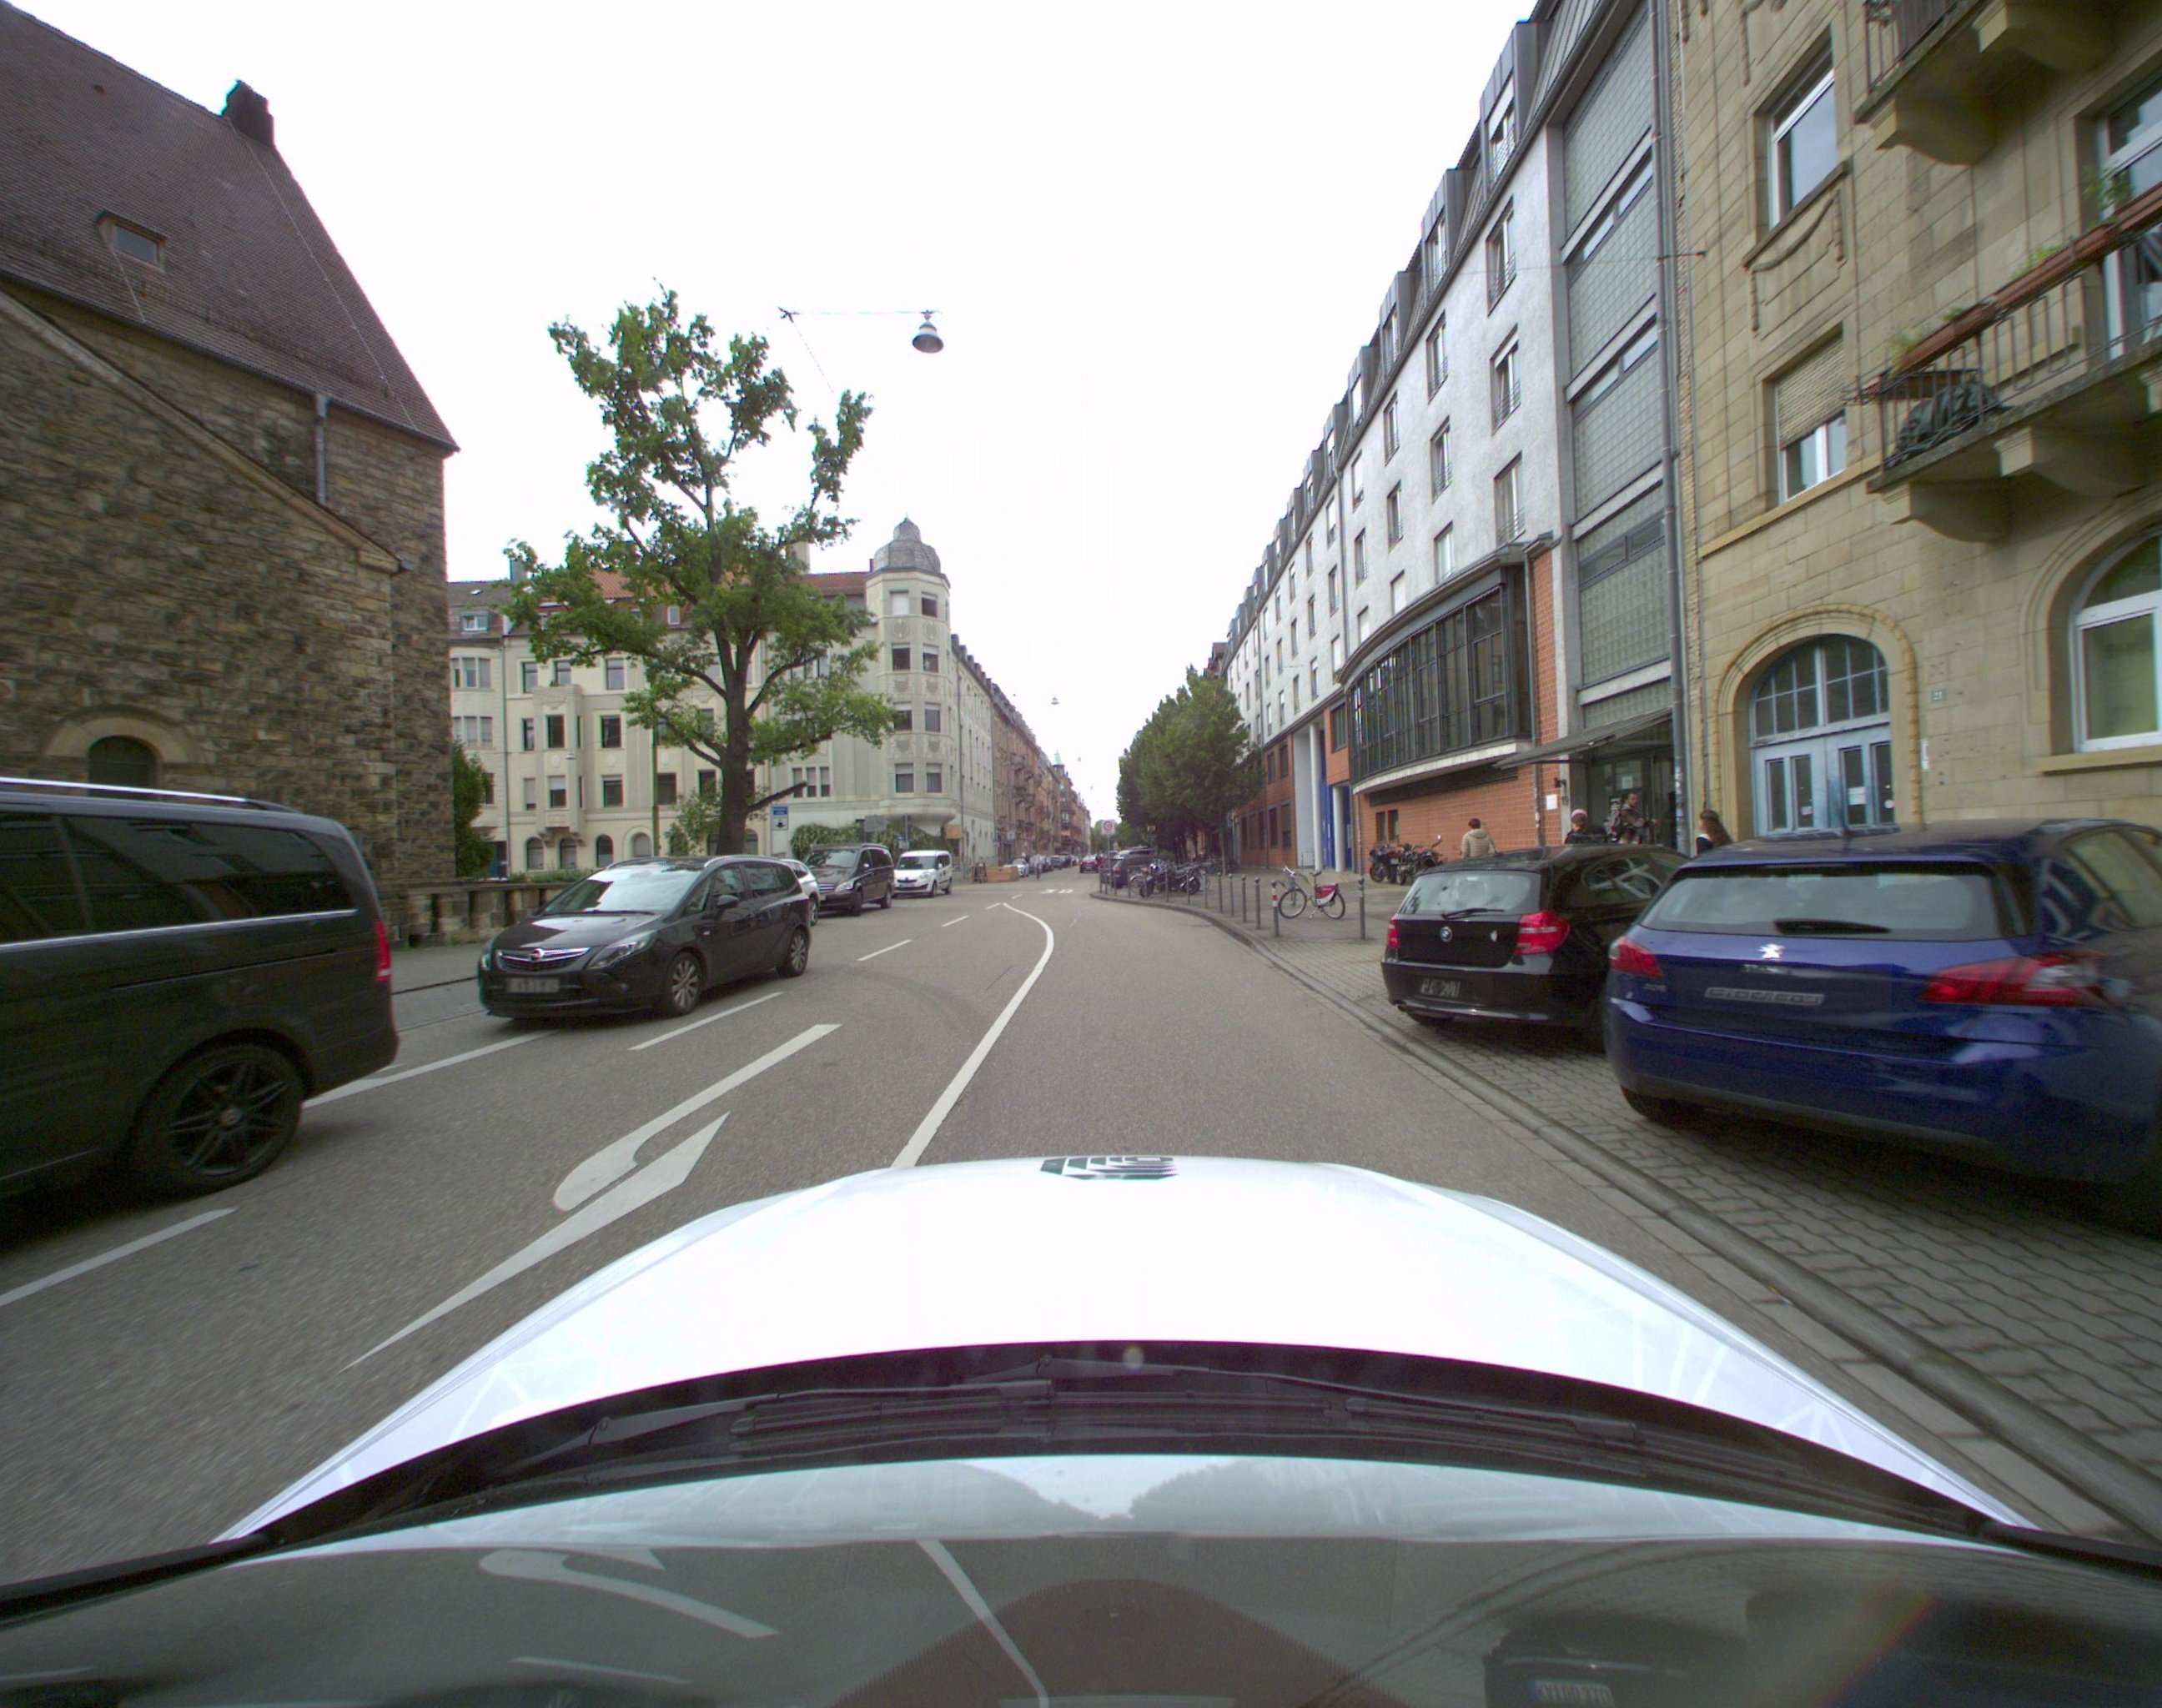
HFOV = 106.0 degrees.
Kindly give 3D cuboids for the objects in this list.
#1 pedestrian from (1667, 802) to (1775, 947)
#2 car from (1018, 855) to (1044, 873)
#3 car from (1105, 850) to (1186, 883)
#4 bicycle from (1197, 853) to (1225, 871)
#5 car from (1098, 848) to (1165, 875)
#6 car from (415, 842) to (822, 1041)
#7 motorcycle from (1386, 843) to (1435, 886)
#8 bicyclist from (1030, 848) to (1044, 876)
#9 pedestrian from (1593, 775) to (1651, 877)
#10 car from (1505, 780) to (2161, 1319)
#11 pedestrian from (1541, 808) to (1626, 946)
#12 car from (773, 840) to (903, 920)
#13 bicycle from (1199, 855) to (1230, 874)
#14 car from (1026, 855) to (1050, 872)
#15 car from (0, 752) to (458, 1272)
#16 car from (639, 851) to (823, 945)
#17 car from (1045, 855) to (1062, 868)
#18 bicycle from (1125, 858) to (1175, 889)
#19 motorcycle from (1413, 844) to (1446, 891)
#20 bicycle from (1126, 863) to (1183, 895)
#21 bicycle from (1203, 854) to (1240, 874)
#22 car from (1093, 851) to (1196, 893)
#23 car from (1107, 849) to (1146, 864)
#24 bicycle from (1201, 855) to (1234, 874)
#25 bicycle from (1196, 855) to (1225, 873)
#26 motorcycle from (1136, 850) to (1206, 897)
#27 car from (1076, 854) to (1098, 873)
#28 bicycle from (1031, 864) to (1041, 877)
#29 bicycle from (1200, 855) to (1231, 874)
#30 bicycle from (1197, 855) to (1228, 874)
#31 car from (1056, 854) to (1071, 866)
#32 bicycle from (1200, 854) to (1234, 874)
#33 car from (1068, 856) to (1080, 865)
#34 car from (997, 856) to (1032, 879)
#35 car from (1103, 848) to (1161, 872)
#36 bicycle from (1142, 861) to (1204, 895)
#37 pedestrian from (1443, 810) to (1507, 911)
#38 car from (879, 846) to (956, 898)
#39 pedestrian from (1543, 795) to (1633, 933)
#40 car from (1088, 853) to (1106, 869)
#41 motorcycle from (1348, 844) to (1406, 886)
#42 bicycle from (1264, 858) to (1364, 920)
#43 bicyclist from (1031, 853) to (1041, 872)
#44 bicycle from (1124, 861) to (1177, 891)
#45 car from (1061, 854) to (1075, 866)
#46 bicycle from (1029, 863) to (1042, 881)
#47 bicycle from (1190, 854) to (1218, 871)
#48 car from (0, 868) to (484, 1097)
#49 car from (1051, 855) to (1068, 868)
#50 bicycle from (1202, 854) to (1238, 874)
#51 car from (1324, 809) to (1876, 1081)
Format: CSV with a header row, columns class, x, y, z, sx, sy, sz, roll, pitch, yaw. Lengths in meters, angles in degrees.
class,x,y,z,sx,sy,sz,roll,pitch,yaw
pedestrian,7.041,0.221,8.991,0.517,1.510,0.716,-3,-2,-1
car,-4.457,0.907,73.671,1.936,1.617,3.945,-1,-1,2
car,3.615,0.709,45.314,4.071,1.585,1.885,-2,-1,-29
bicycle,8.428,0.521,52.859,1.746,1.092,0.565,-1,-2,1
car,4.385,0.629,70.507,5.645,2.127,1.931,-2,-1,-32
car,-4.736,0.758,9.325,1.837,1.684,4.552,-1,0,3
motorcycle,9.367,0.300,23.241,0.599,1.144,2.072,-3,0,3
bicyclist,-2.965,0.529,54.627,0.778,1.866,0.715,-2,0,4
pedestrian,9.219,-0.460,13.893,0.505,1.689,0.628,-1,-2,1
car,4.427,0.502,4.236,4.010,1.533,1.915,-5,1,-27
pedestrian,6.345,0.289,10.313,0.517,1.662,0.716,-3,-2,-1
car,-6.828,0.663,23.568,2.005,2.014,5.185,-1,0,2
bicycle,7.993,0.633,48.799,1.746,1.092,0.565,-1,-2,1
car,-4.161,0.933,79.140,1.936,1.617,3.945,-1,-1,2
car,-5.055,0.616,2.553,1.904,1.954,5.288,-1,0,3
car,-7.199,0.812,17.339,1.836,1.688,4.435,-1,0,2
car,-3.432,0.909,102.344,1.937,1.617,3.944,-1,-1,2
bicycle,2.761,0.774,32.742,1.878,1.141,0.611,-3,-2,-1
motorcycle,9.031,0.333,21.080,0.595,1.144,1.893,-3,-1,28
bicycle,2.602,0.891,28.914,1.923,1.043,0.611,-3,-2,-1
bicycle,7.783,0.562,45.180,1.925,1.092,0.577,-1,-2,1
car,2.902,0.805,36.910,4.302,1.578,1.845,-4,0,-31
car,6.666,0.313,118.372,5.417,1.868,1.933,-2,-1,-28
bicycle,7.933,0.606,47.387,1.829,1.092,0.565,-1,-2,1
bicycle,8.304,0.651,52.252,1.746,1.092,0.565,-1,-2,1
motorcycle,2.950,0.651,26.846,2.128,1.429,0.770,-3,-2,-1
car,0.589,0.926,77.409,1.986,1.681,4.000,-1,-1,1
bicycle,-3.329,1.216,59.885,0.533,0.977,1.866,-1,-1,2
bicycle,7.926,0.605,48.017,1.746,1.092,0.565,-1,-2,1
bicycle,7.963,0.618,49.407,1.746,1.092,0.565,-1,-2,1
car,-2.511,0.892,118.028,1.936,1.744,3.945,-1,-1,2
bicycle,7.782,0.596,46.595,1.829,1.092,0.543,-1,-2,1
car,-1.257,1.143,139.742,1.988,1.321,3.998,-1,-1,-1
car,-5.043,1.013,62.046,1.935,1.553,3.822,-3,-1,5
car,4.959,0.574,78.597,5.423,1.992,1.931,-2,-1,-32
bicycle,3.167,0.822,28.113,2.003,1.062,0.611,-3,-2,-1
pedestrian,7.180,0.110,14.879,0.628,1.753,0.811,-5,0,-1
car,-6.520,0.681,32.946,1.835,1.939,4.553,-1,0,4
pedestrian,6.920,0.139,11.150,0.665,1.798,0.716,-3,-2,-1
car,1.815,0.841,92.632,1.986,1.681,4.000,-1,-1,1
motorcycle,9.290,0.336,25.641,1.024,1.202,2.210,-3,0,2
bicycle,4.563,0.686,16.033,0.733,1.104,1.716,-3,-1,-39
bicyclist,-3.345,0.623,59.925,0.666,1.399,0.783,-1,-2,-1
bicycle,2.599,0.826,30.513,1.878,1.043,0.611,-3,-2,-1
car,-1.997,0.957,124.817,1.936,1.738,3.945,-2,0,2
bicycle,-3.017,1.194,54.333,0.565,1.087,1.989,-2,0,4
bicycle,8.124,0.553,53.891,1.746,1.092,0.565,-1,-2,1
car,-7.642,0.890,7.293,1.639,1.508,3.774,0,-1,3
car,-2.762,0.977,107.215,1.936,1.742,3.945,-1,-1,2
bicycle,7.803,0.576,45.785,1.888,1.092,0.543,-1,-2,1
car,4.335,0.547,6.781,4.265,1.478,1.672,-5,1,-22
